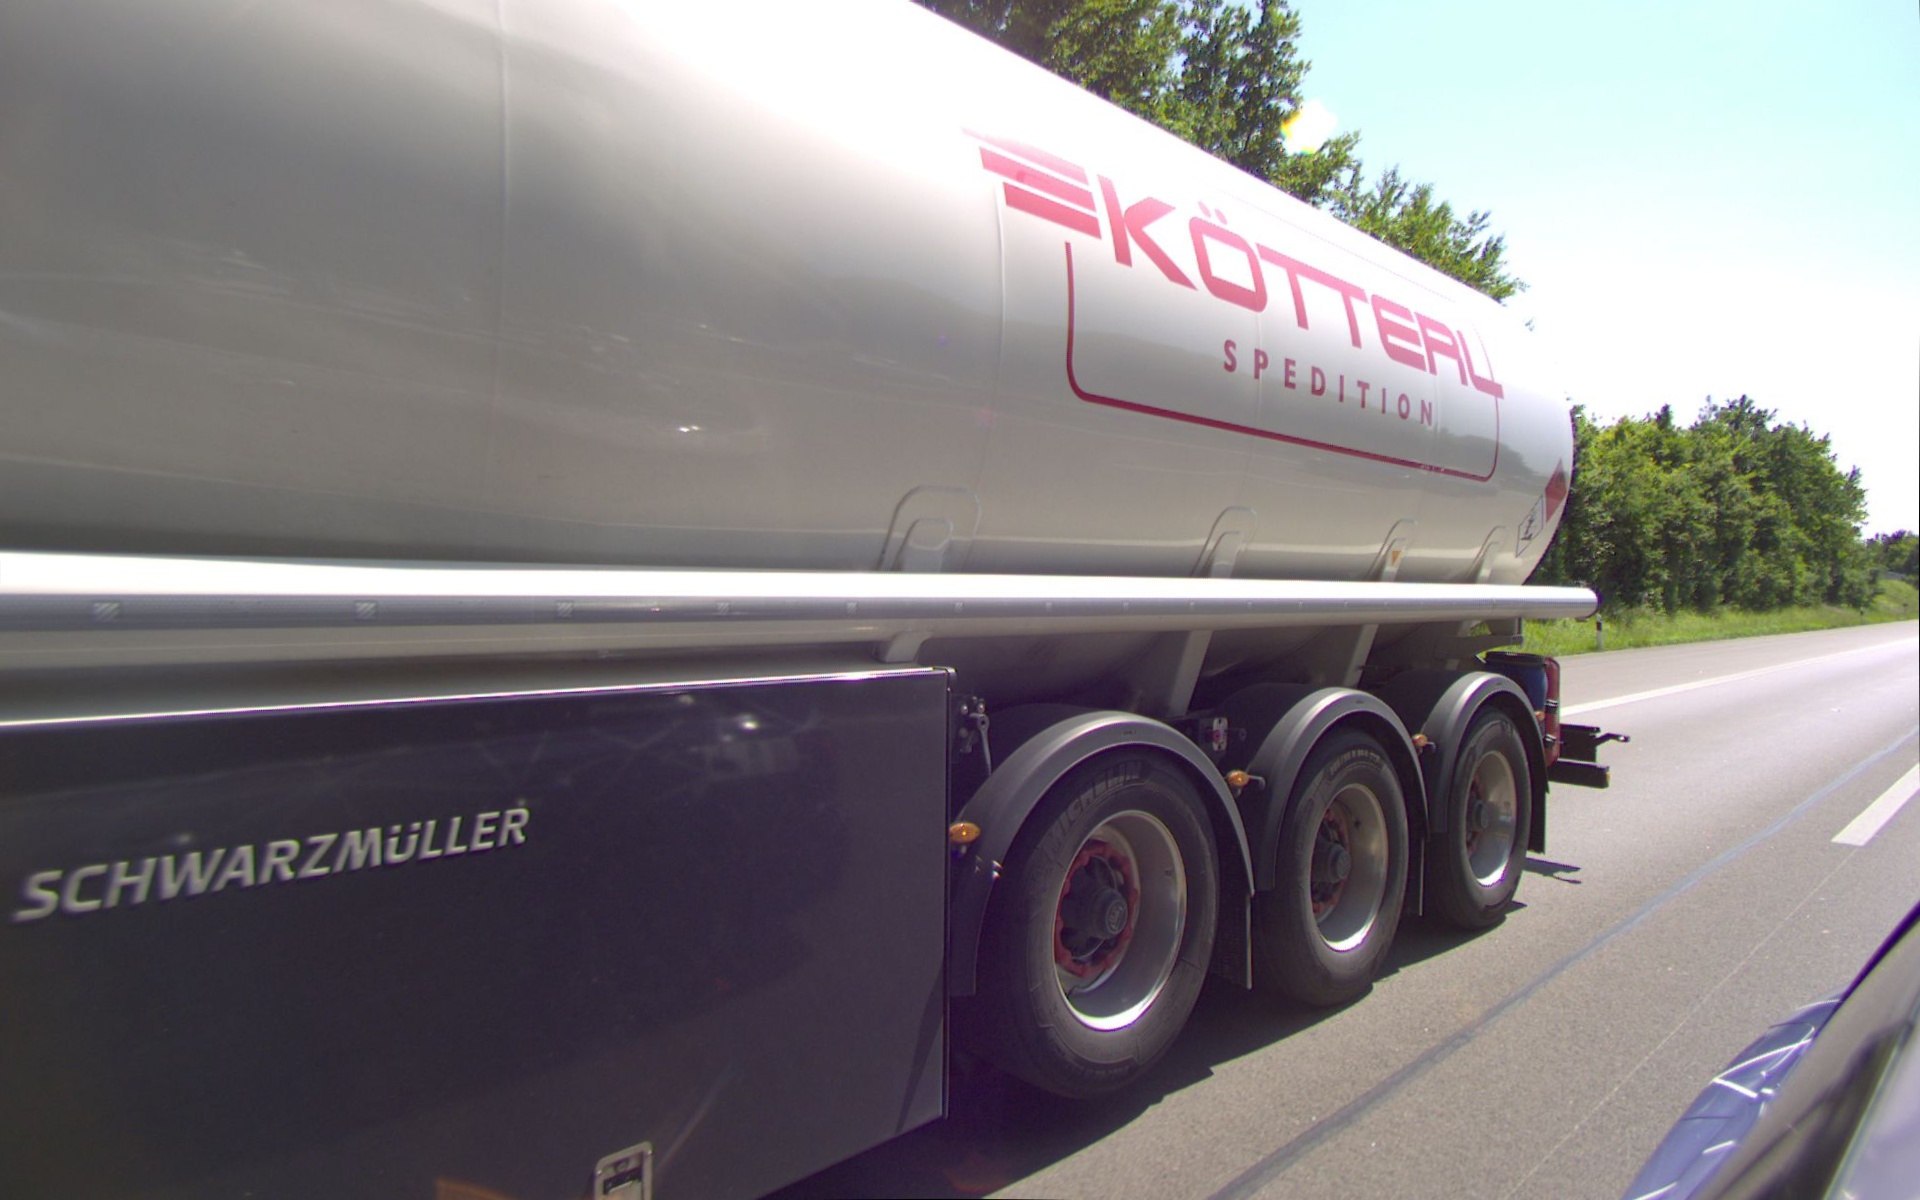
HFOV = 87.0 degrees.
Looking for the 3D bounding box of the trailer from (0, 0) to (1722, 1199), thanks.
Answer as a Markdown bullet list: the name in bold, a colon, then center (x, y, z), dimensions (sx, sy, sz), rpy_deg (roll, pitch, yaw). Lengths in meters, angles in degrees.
- **trailer**: center (-0.793, -0.373, 3.162), dimensions (10.953, 3.432, 2.654), rpy_deg (0, 0, -40)
